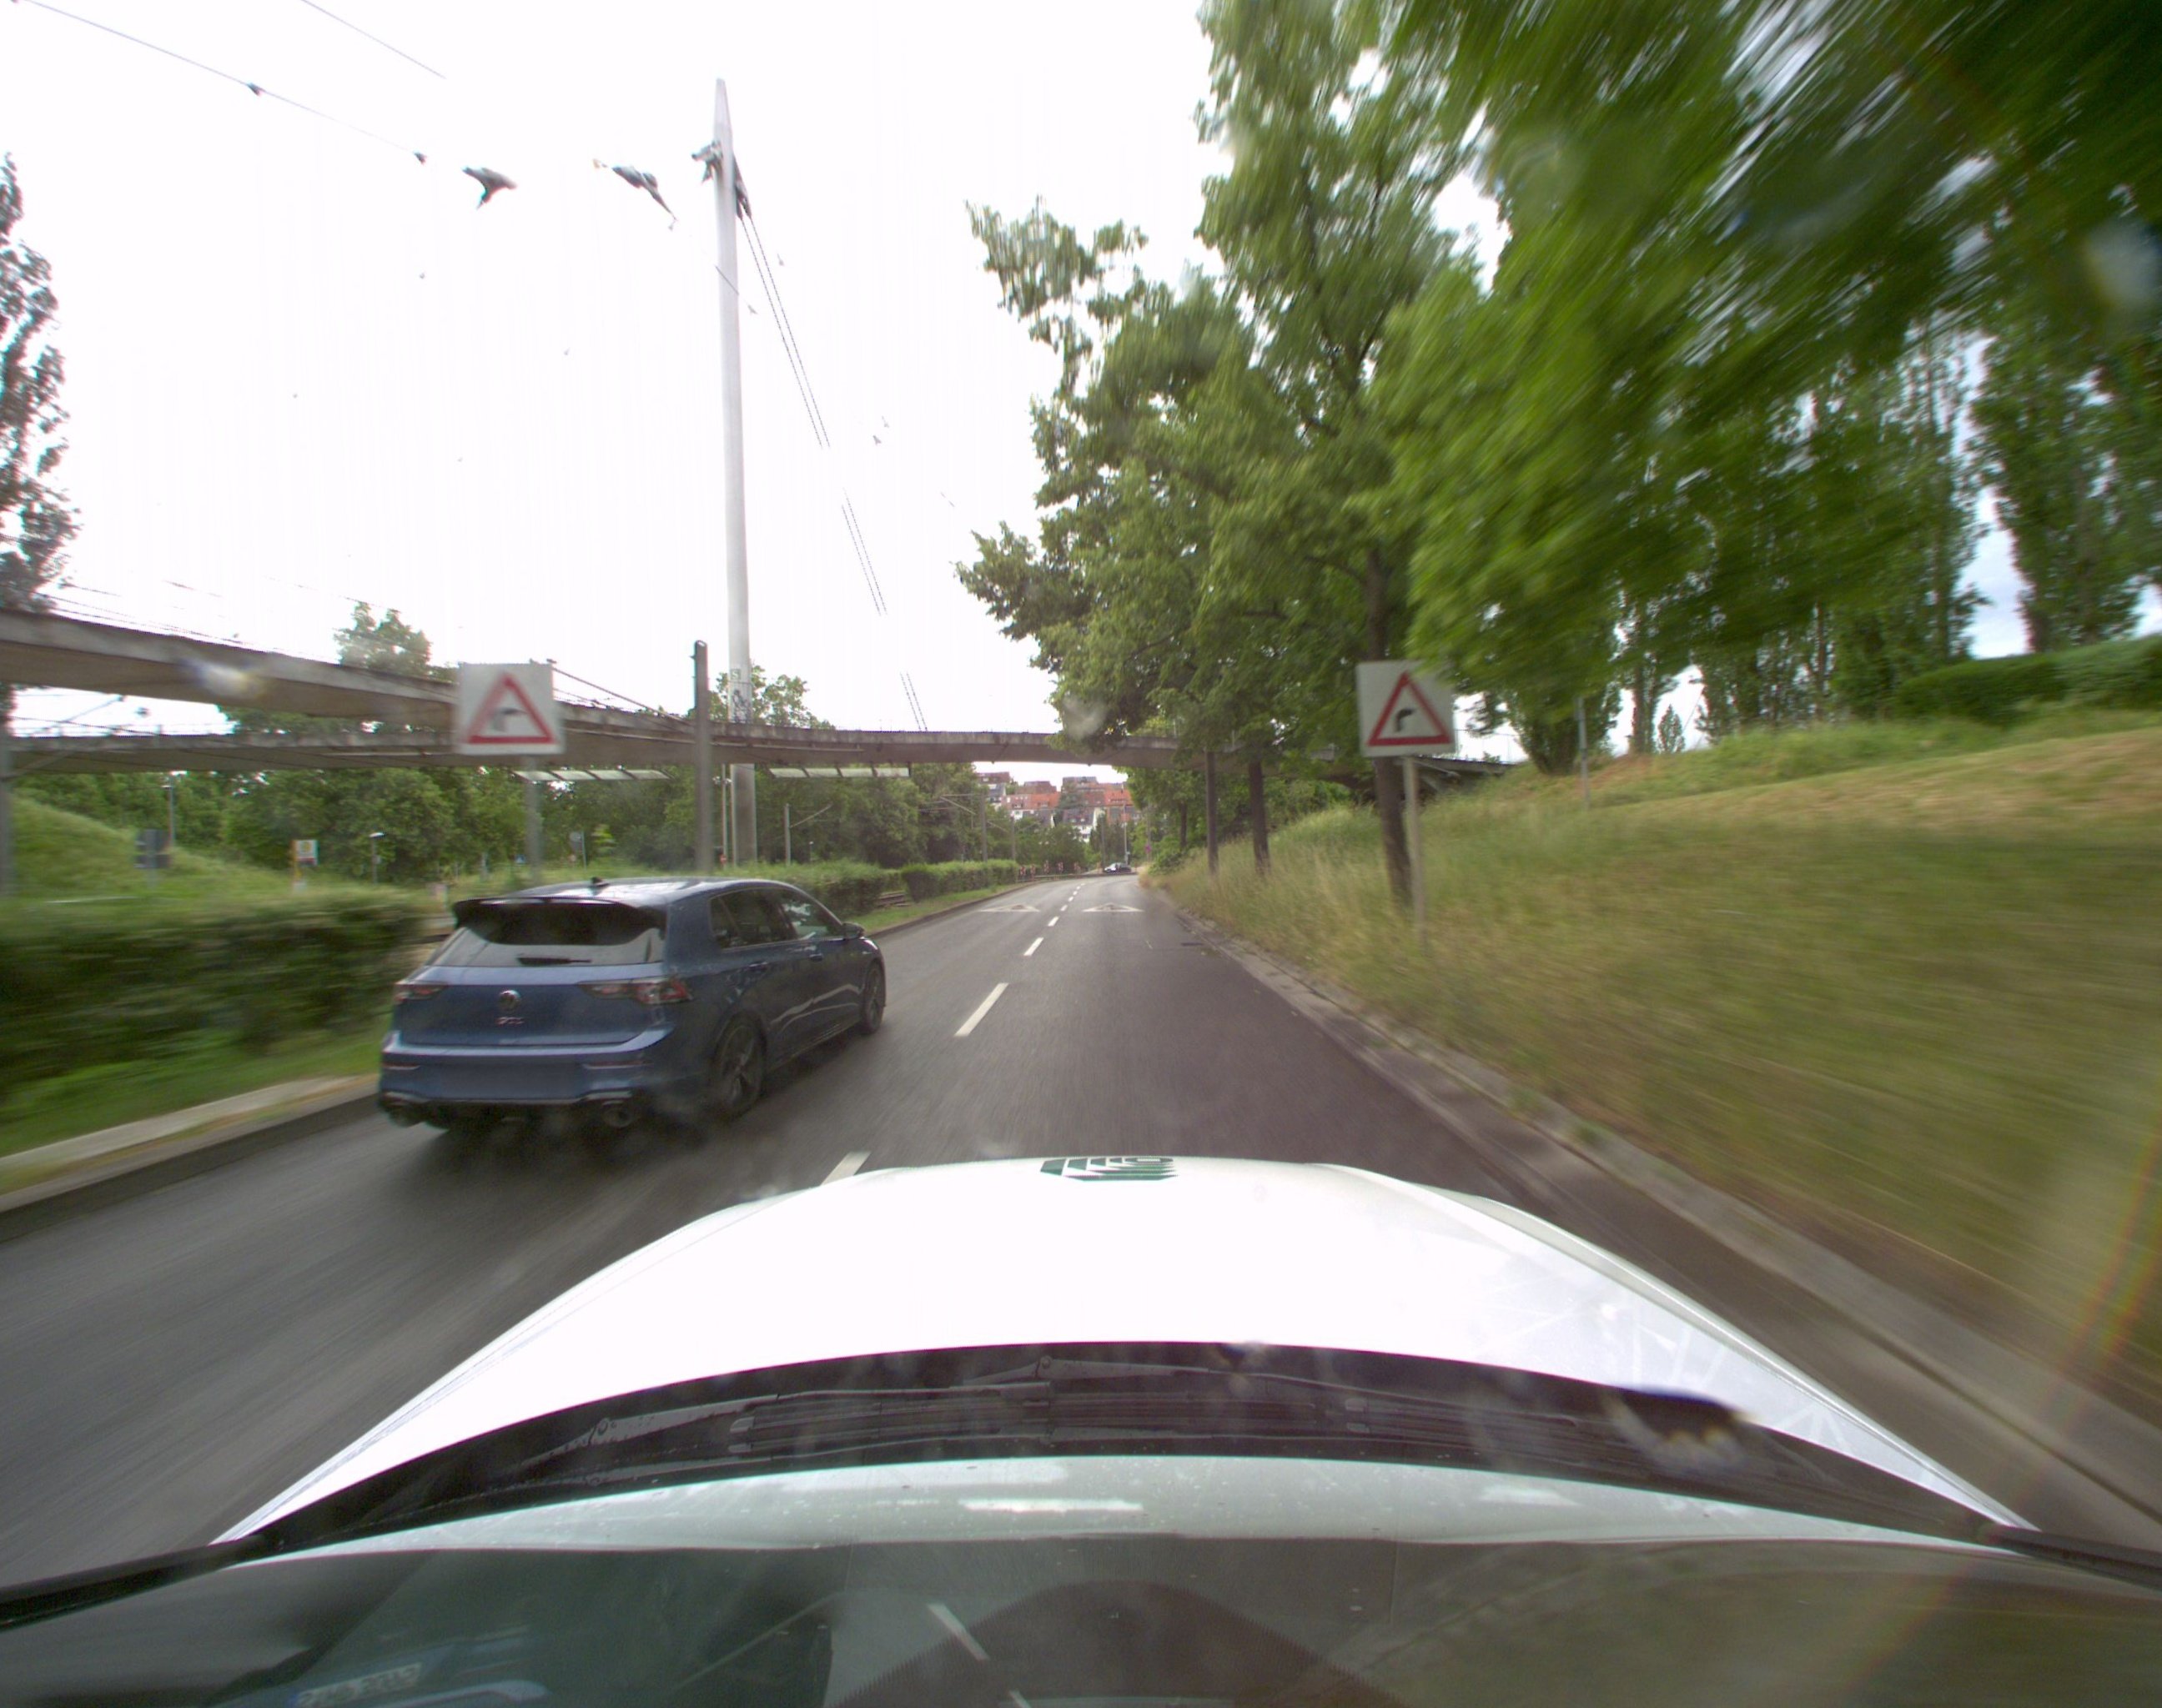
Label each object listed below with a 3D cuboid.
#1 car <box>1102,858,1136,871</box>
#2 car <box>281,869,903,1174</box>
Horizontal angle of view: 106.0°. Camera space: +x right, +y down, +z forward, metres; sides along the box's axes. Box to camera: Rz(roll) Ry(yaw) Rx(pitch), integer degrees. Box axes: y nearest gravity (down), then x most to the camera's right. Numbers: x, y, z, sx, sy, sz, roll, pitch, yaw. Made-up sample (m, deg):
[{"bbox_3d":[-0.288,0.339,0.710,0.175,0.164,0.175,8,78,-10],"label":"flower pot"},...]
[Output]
[{"bbox_3d":[4.770,1.311,100.973,4.024,1.409,1.975,-3,0,-45],"label":"car"},{"bbox_3d":[-2.798,0.833,6.021,1.801,1.378,4.350,-1,0,3],"label":"car"}]
